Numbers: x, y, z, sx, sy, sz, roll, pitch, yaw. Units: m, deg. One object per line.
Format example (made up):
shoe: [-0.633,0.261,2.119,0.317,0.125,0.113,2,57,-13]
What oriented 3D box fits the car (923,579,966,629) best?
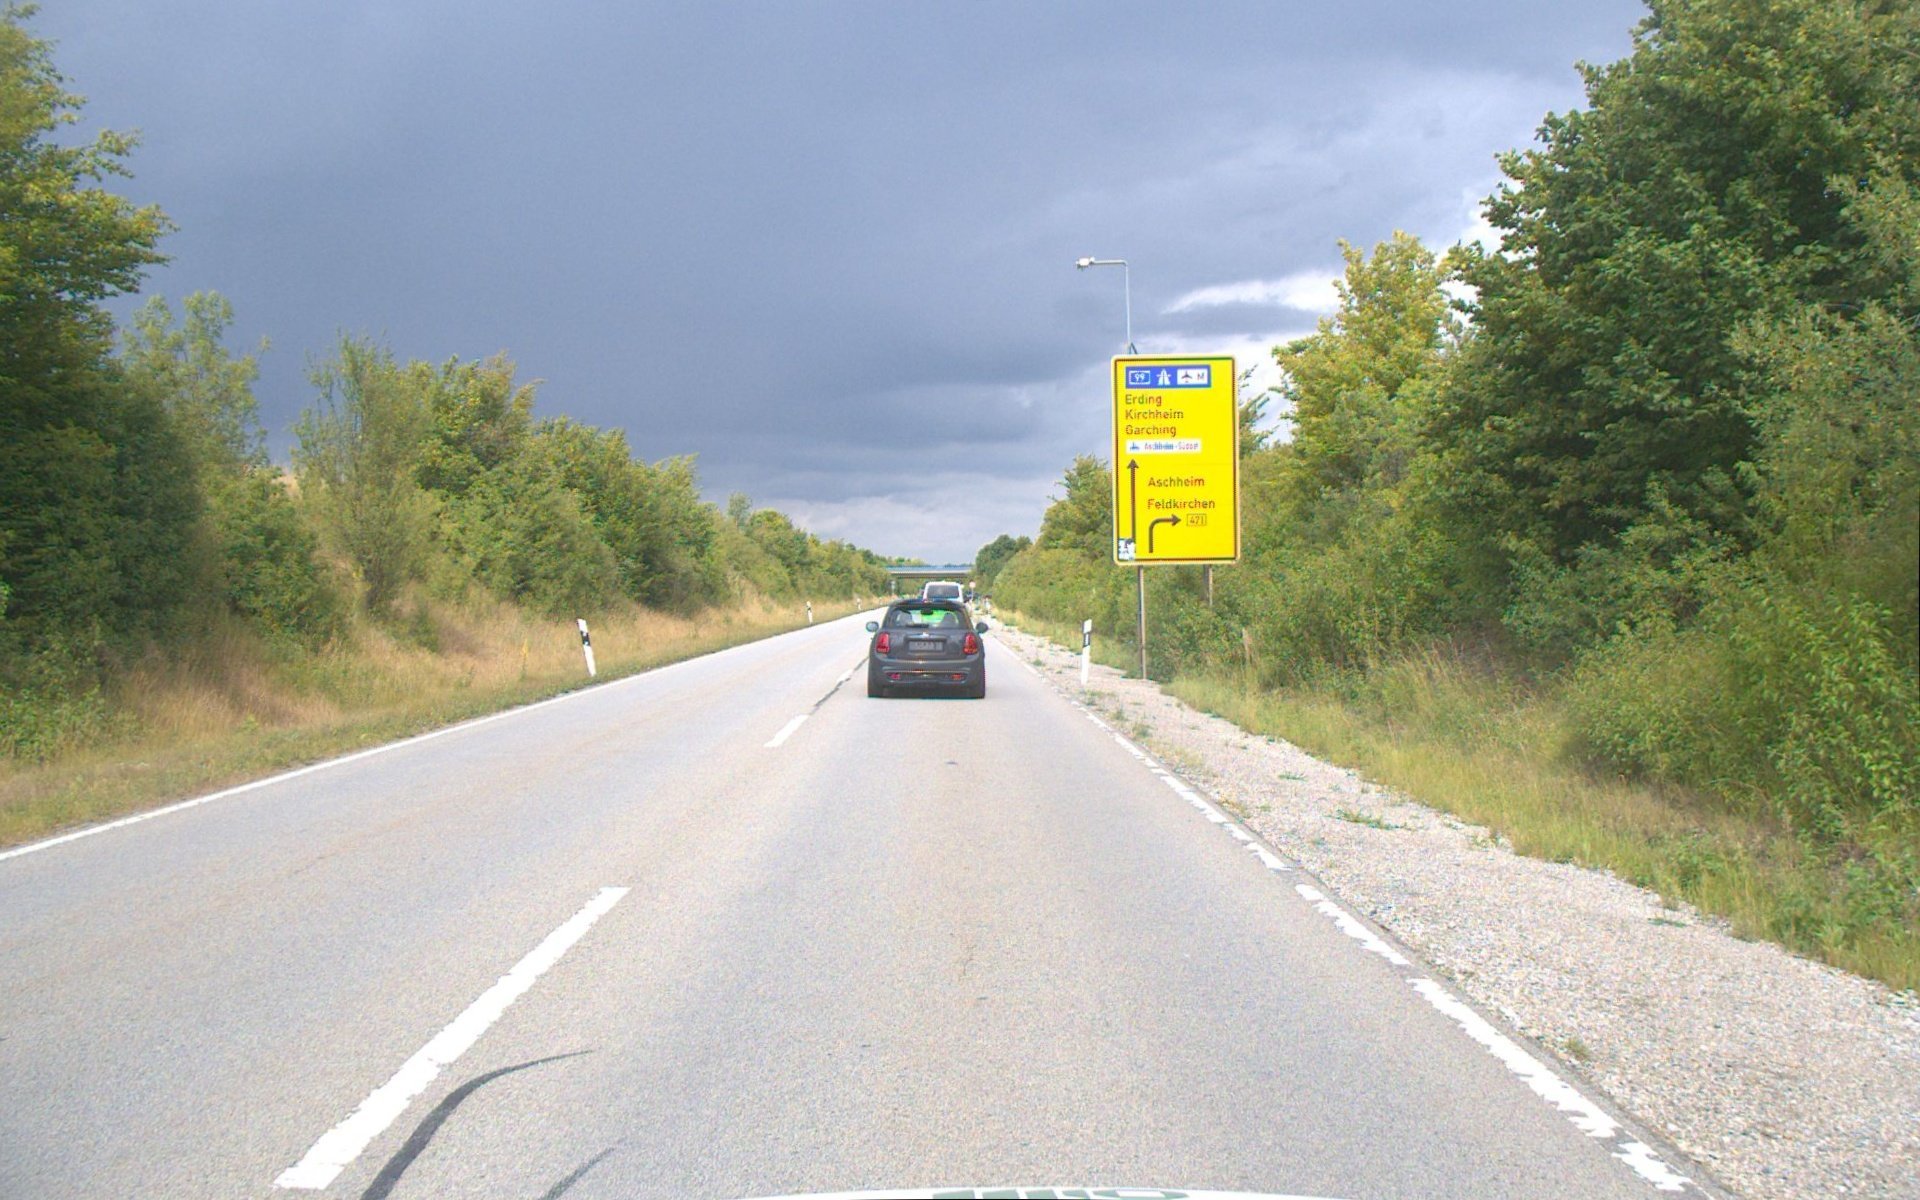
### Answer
car: [-0.671,0.177,71.910,1.782,2.090,3.999,1,0,-1]

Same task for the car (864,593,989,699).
car: [-0.507,0.648,25.254,1.721,1.452,3.999,1,0,-1]
